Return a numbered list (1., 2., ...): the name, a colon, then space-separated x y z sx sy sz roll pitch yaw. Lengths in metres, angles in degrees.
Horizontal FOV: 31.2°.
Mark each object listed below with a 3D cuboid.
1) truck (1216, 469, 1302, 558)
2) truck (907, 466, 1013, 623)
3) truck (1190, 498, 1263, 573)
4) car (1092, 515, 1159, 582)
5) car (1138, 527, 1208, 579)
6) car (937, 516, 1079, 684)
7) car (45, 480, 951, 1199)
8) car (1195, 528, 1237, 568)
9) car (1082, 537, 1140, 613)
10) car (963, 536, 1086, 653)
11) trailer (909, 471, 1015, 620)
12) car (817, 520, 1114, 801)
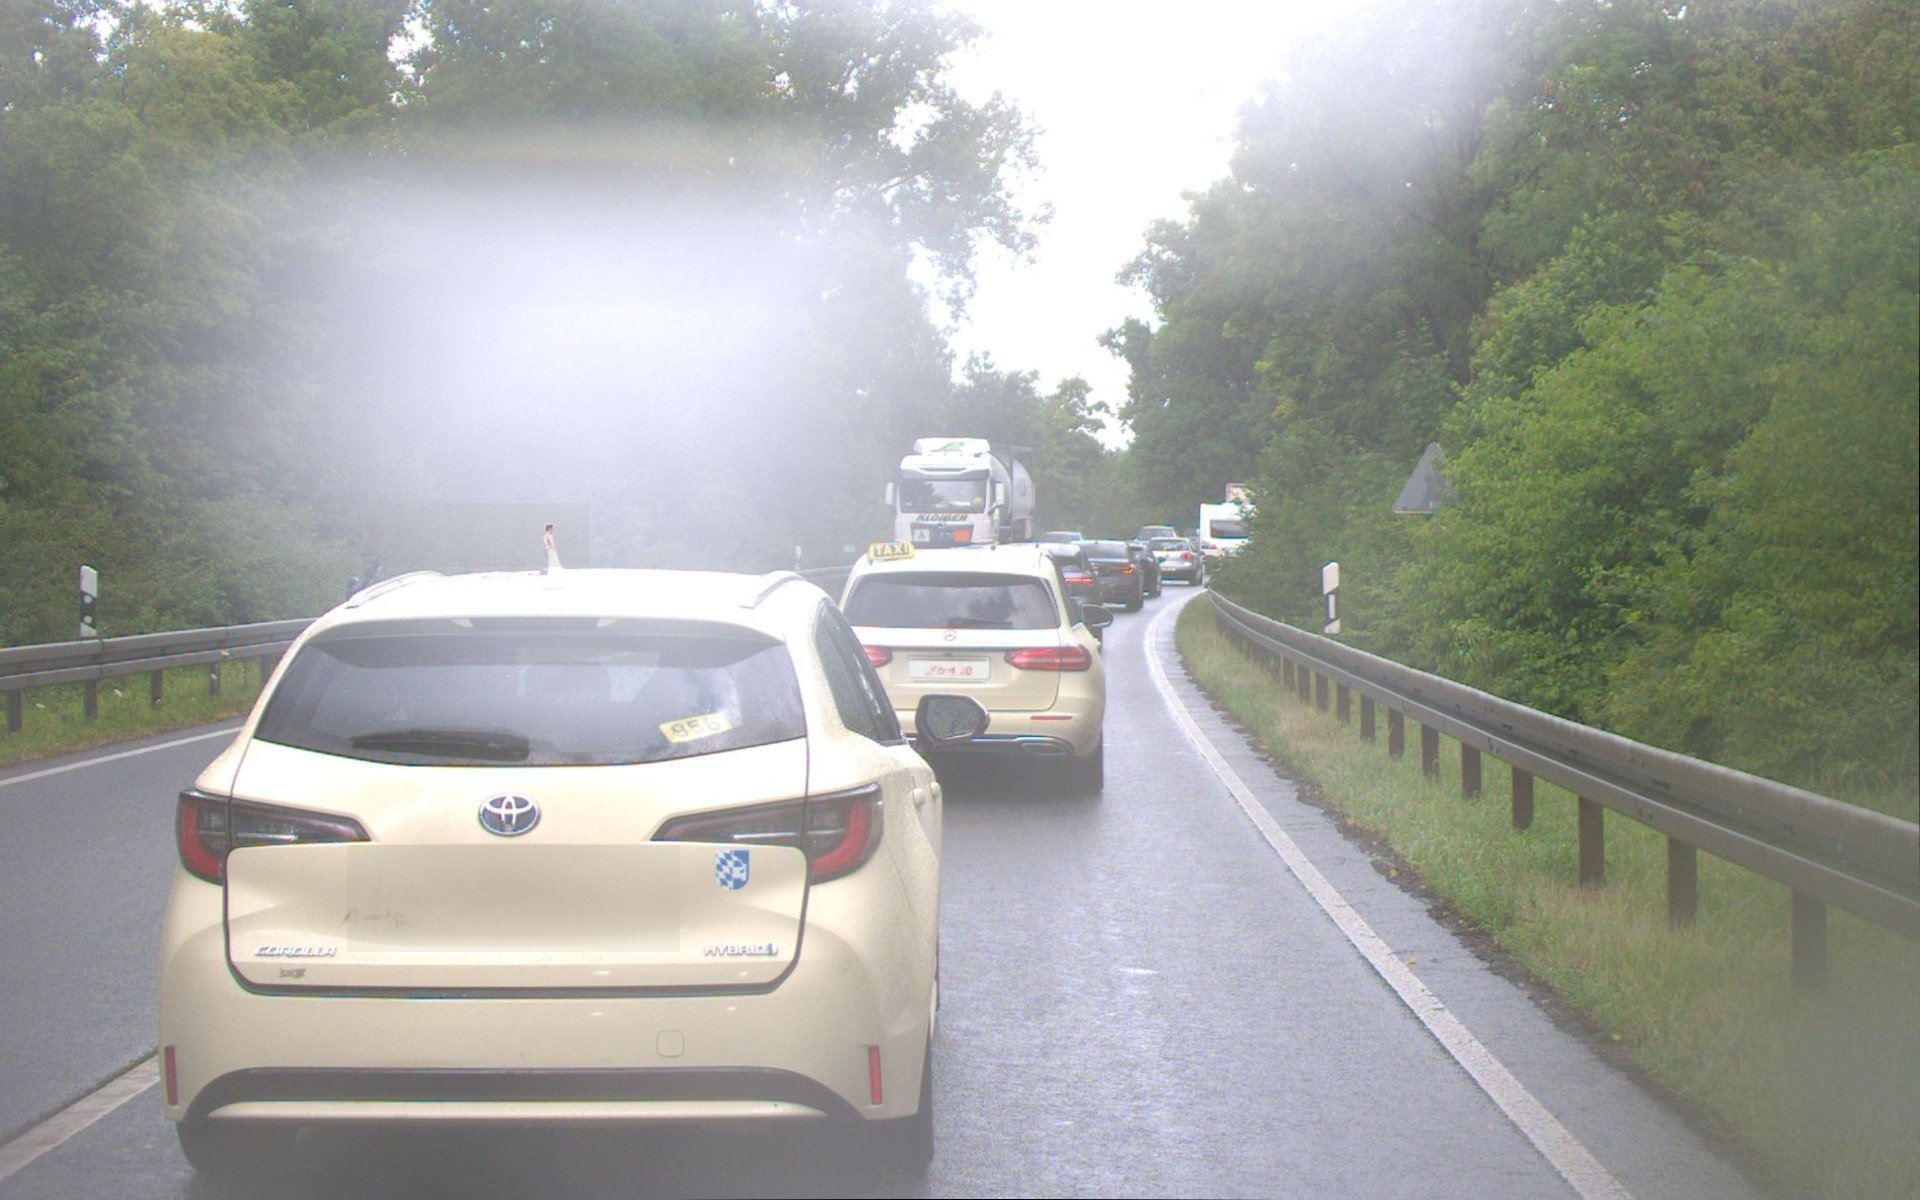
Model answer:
1. truck: 12.926 -3.689 148.134 3.108 3.668 6.997 1 0 9
2. truck: 0.005 -1.390 87.408 2.536 3.812 5.245 1 0 0
3. truck: 9.944 -2.367 128.981 2.550 2.704 7.534 1 0 3
4. car: 4.121 -1.271 85.655 1.616 1.607 3.621 1 0 3
5. car: 6.581 -1.443 106.001 1.770 1.541 3.812 1 0 9
6. car: 0.486 -0.013 33.706 1.300 1.541 3.260 1 0 1
7. car: -0.956 0.538 9.123 1.834 1.575 4.157 1 0 0
8. car: 13.291 -2.686 178.590 1.584 2.007 3.759 1 0 13
9. car: 3.150 -0.525 71.553 1.167 1.541 2.604 1 0 3
10. car: 0.873 -0.108 47.053 1.611 1.541 3.814 0 1 1
11. trailer: 0.111 -1.435 92.792 2.536 3.812 7.791 1 0 2
12. car: 0.083 0.330 21.560 1.667 1.575 3.892 1 0 2
